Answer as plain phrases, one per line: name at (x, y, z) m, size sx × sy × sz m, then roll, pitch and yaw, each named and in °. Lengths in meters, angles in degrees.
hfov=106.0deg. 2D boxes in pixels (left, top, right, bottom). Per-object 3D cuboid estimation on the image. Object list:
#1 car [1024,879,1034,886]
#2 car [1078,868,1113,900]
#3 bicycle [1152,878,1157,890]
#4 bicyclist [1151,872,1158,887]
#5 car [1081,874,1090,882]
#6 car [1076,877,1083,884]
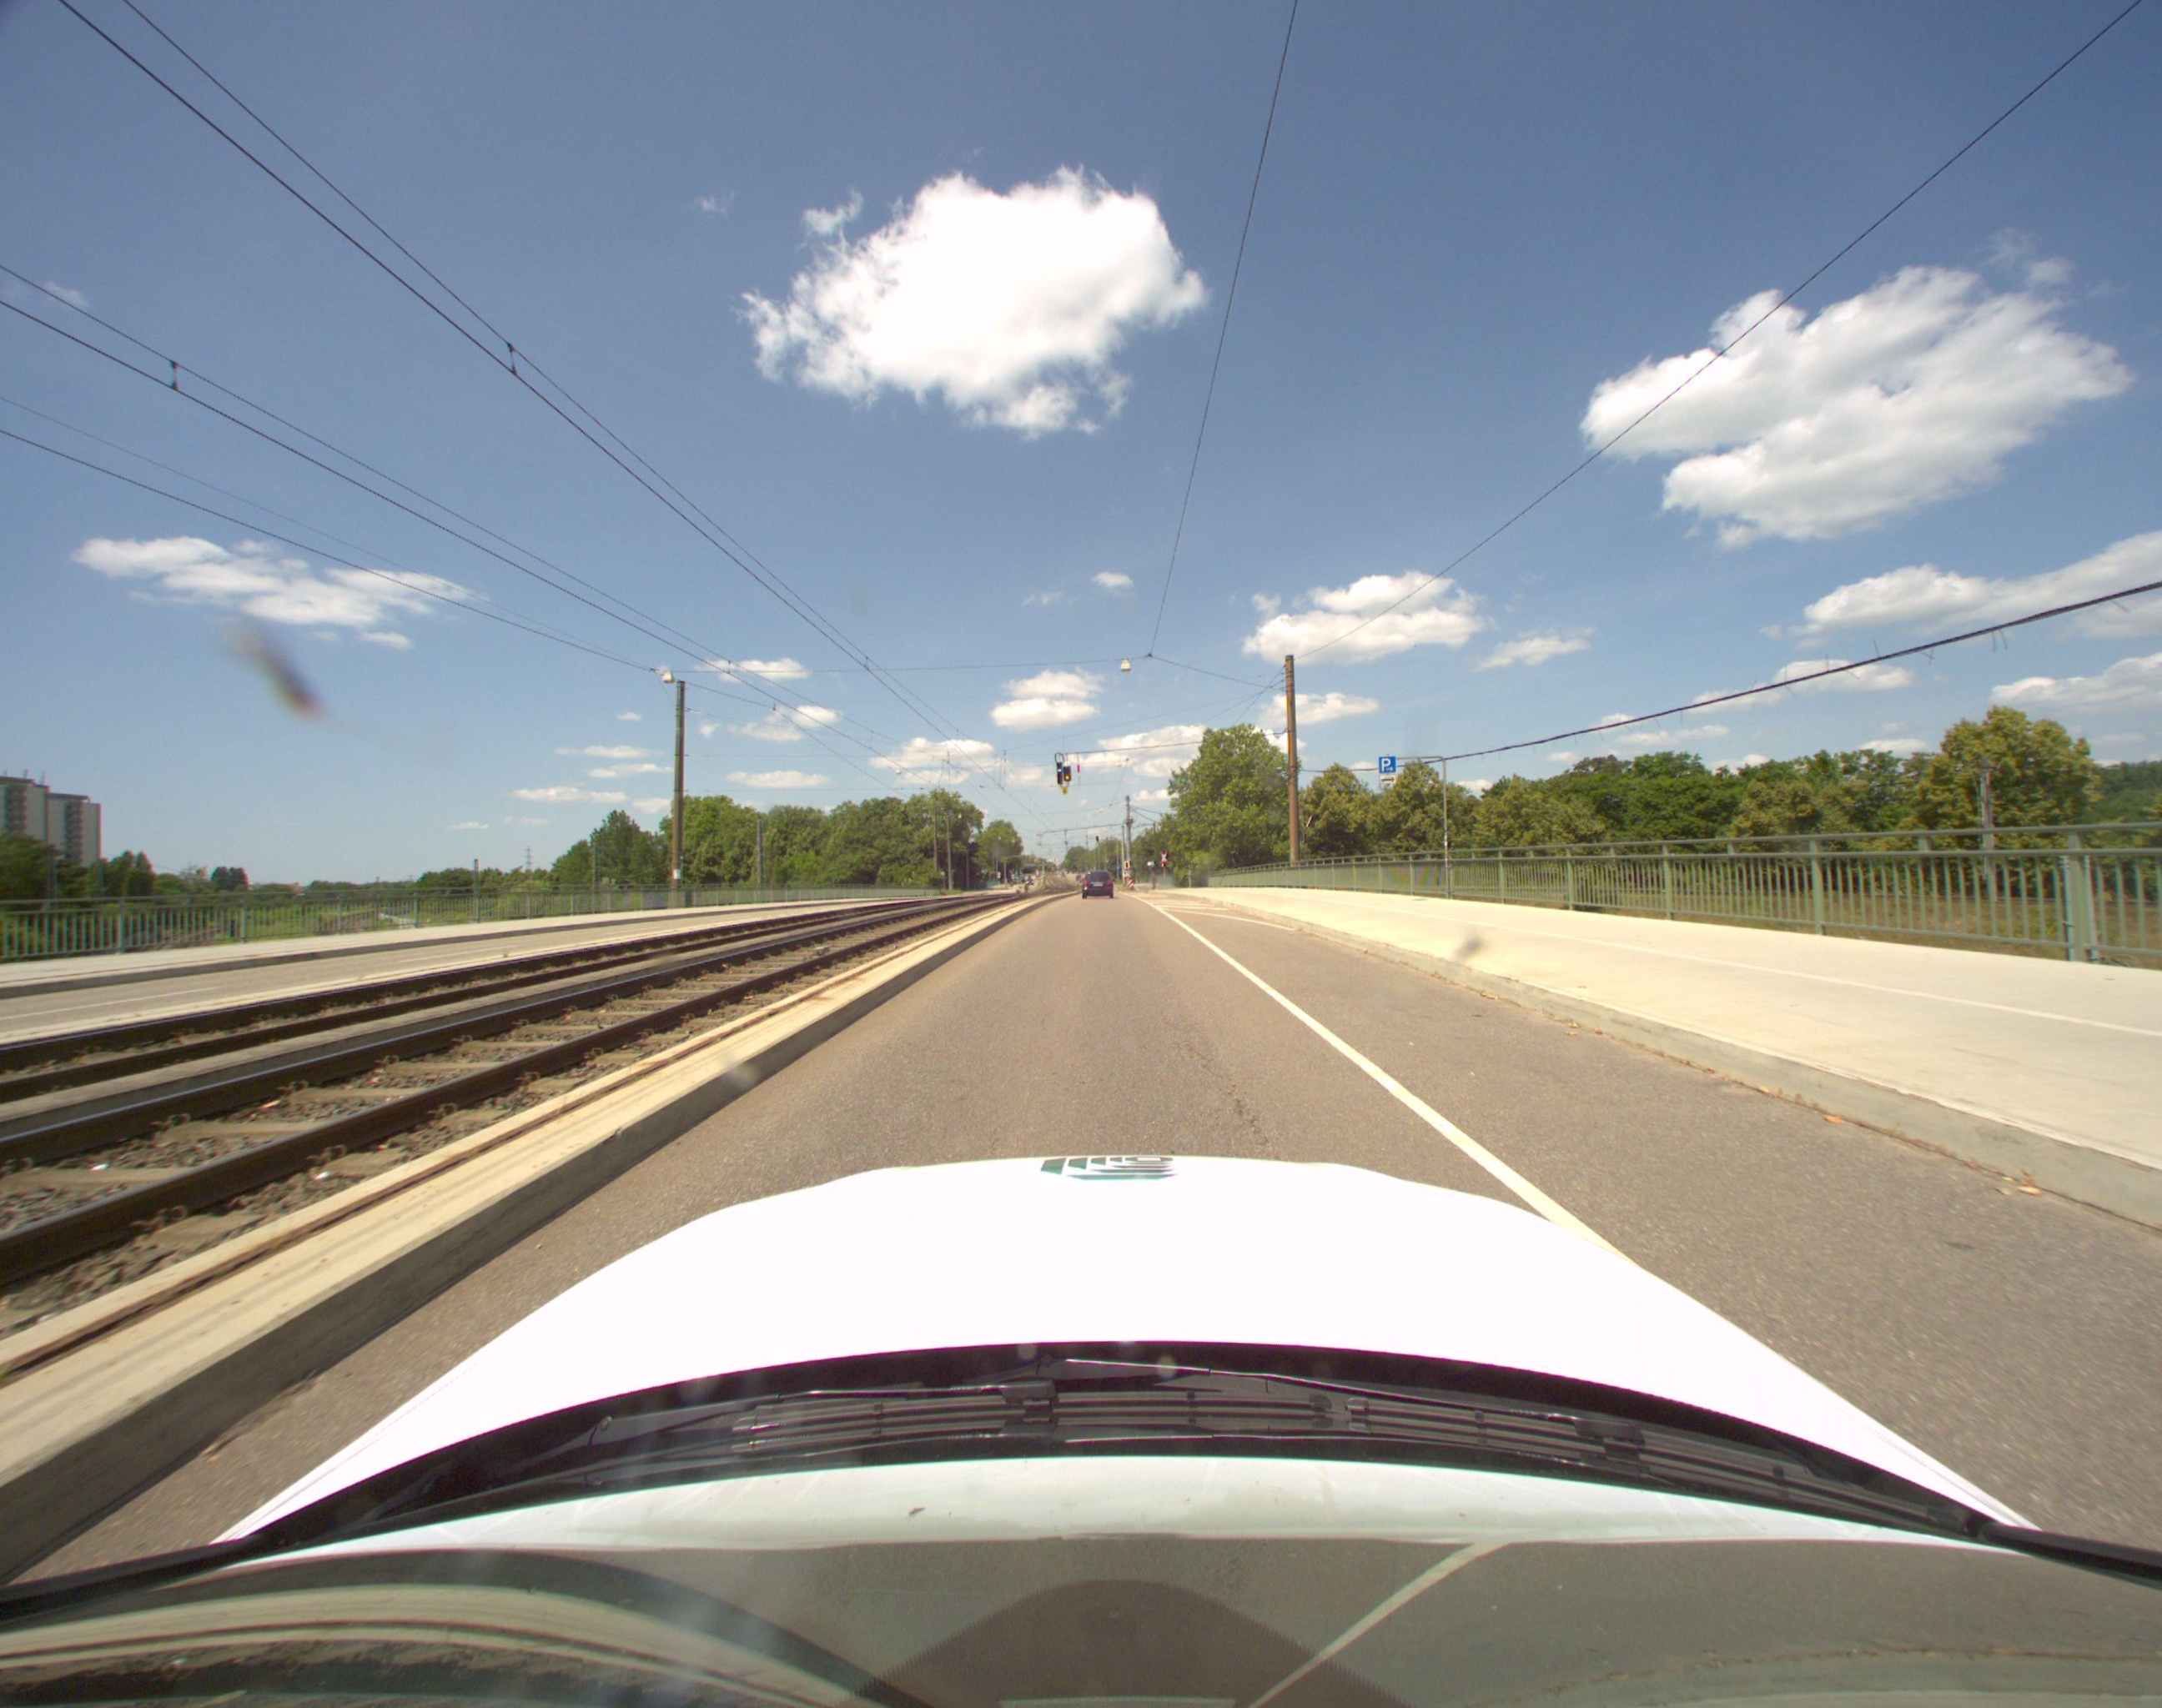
car at (-11.590, 6.285, 182.498) m, size 1.698 × 1.510 × 3.734 m, roll -2°, pitch -2°, yaw 2°
car at (0.837, 1.666, 46.549) m, size 1.846 × 1.570 × 4.389 m, roll -1°, pitch 1°, yaw 1°
bicycle at (7.519, 3.048, 83.270) m, size 0.430 × 1.152 × 1.856 m, roll -1°, pitch 0°, yaw 3°
bicyclist at (7.516, 2.612, 83.307) m, size 0.583 × 1.495 × 0.558 m, roll -1°, pitch 0°, yaw 2°
car at (1.089, 5.677, 194.369) m, size 1.877 × 1.640 × 4.002 m, roll 2°, pitch 0°, yaw 2°
car at (-0.403, 7.357, 225.691) m, size 1.986 × 2.013 × 4.000 m, roll -1°, pitch 0°, yaw 1°
